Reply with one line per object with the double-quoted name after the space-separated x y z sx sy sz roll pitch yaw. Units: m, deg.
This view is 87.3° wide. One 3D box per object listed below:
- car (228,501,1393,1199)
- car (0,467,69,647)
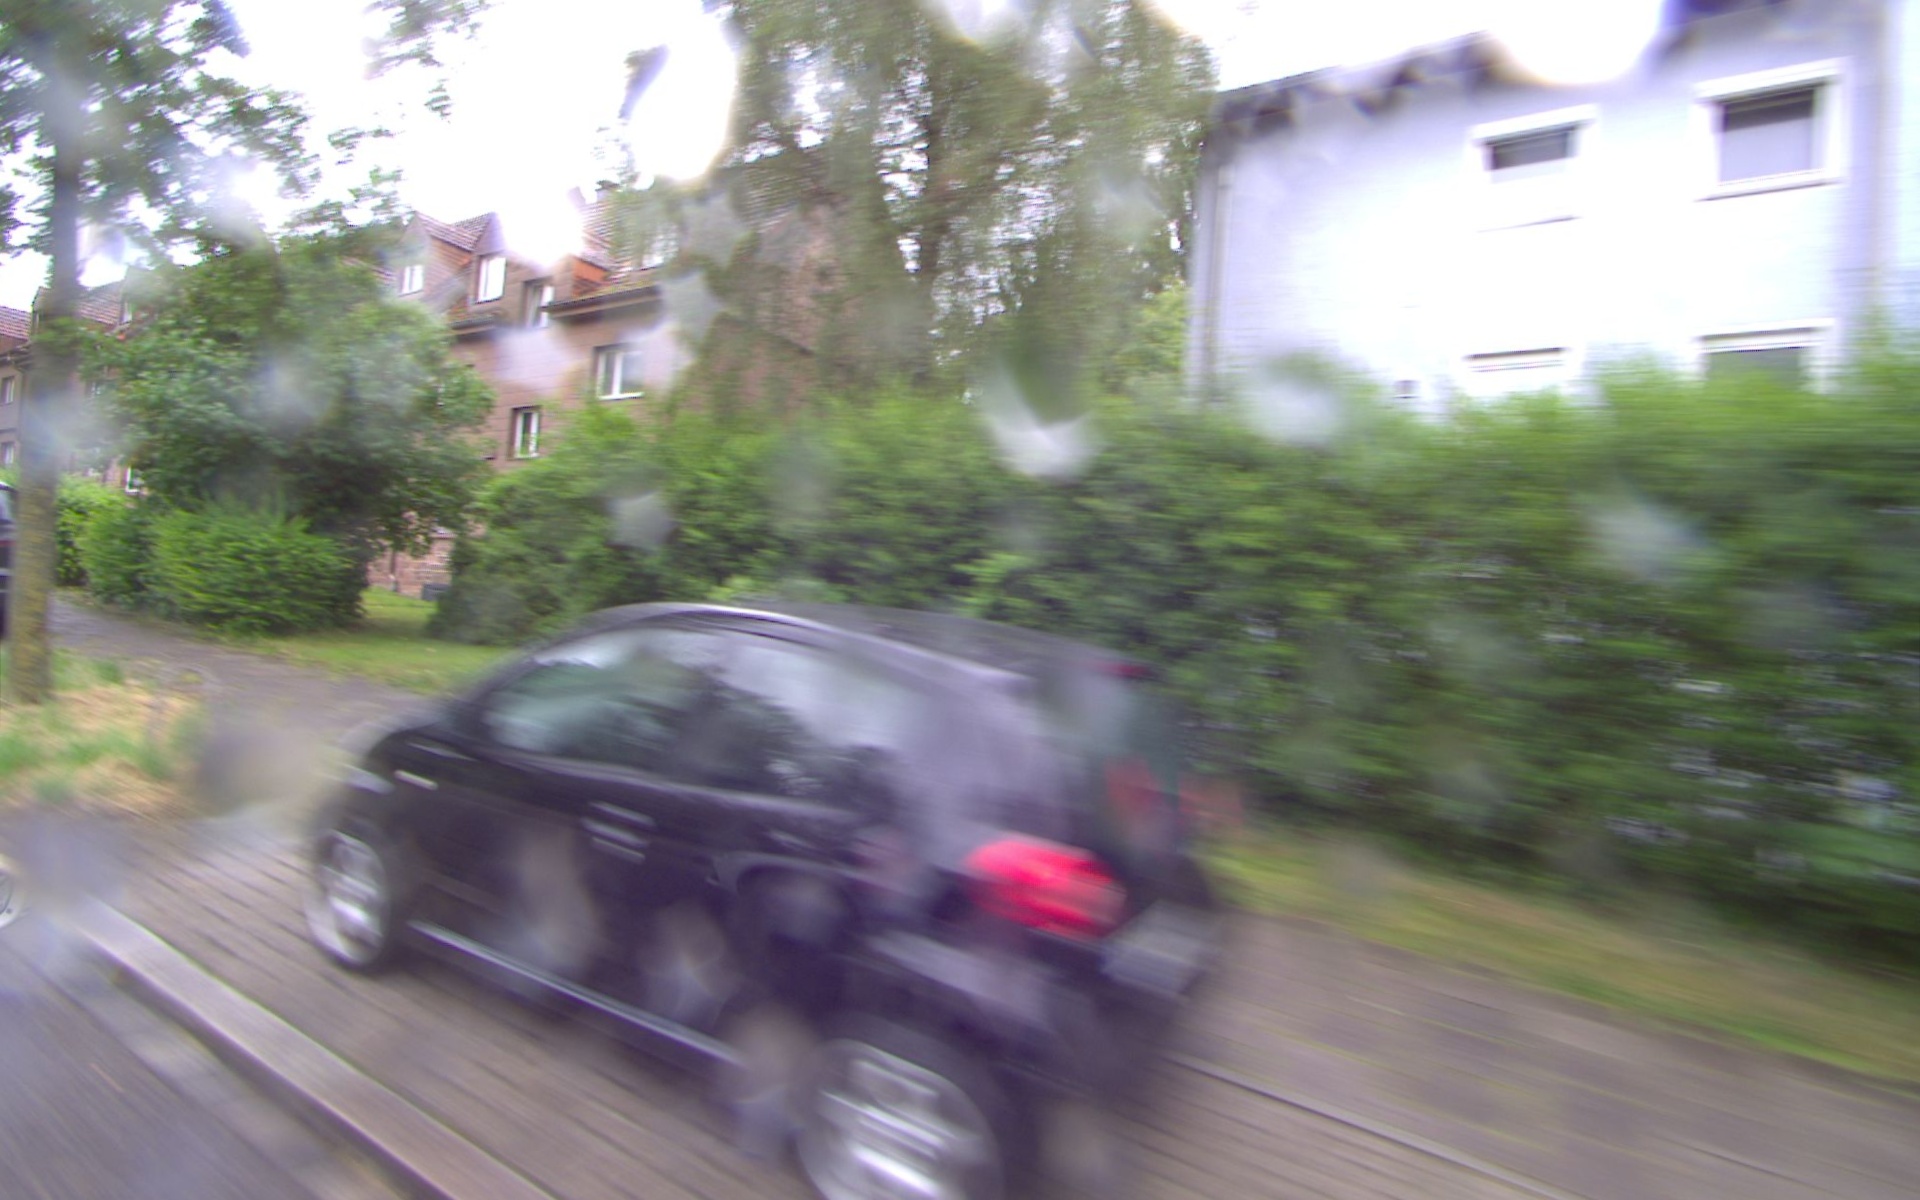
-0.657 0.634 3.572 3.722 1.531 1.724 7 1 30 "car"
-11.224 -0.642 10.379 4.509 1.699 1.825 7 1 33 "car"
